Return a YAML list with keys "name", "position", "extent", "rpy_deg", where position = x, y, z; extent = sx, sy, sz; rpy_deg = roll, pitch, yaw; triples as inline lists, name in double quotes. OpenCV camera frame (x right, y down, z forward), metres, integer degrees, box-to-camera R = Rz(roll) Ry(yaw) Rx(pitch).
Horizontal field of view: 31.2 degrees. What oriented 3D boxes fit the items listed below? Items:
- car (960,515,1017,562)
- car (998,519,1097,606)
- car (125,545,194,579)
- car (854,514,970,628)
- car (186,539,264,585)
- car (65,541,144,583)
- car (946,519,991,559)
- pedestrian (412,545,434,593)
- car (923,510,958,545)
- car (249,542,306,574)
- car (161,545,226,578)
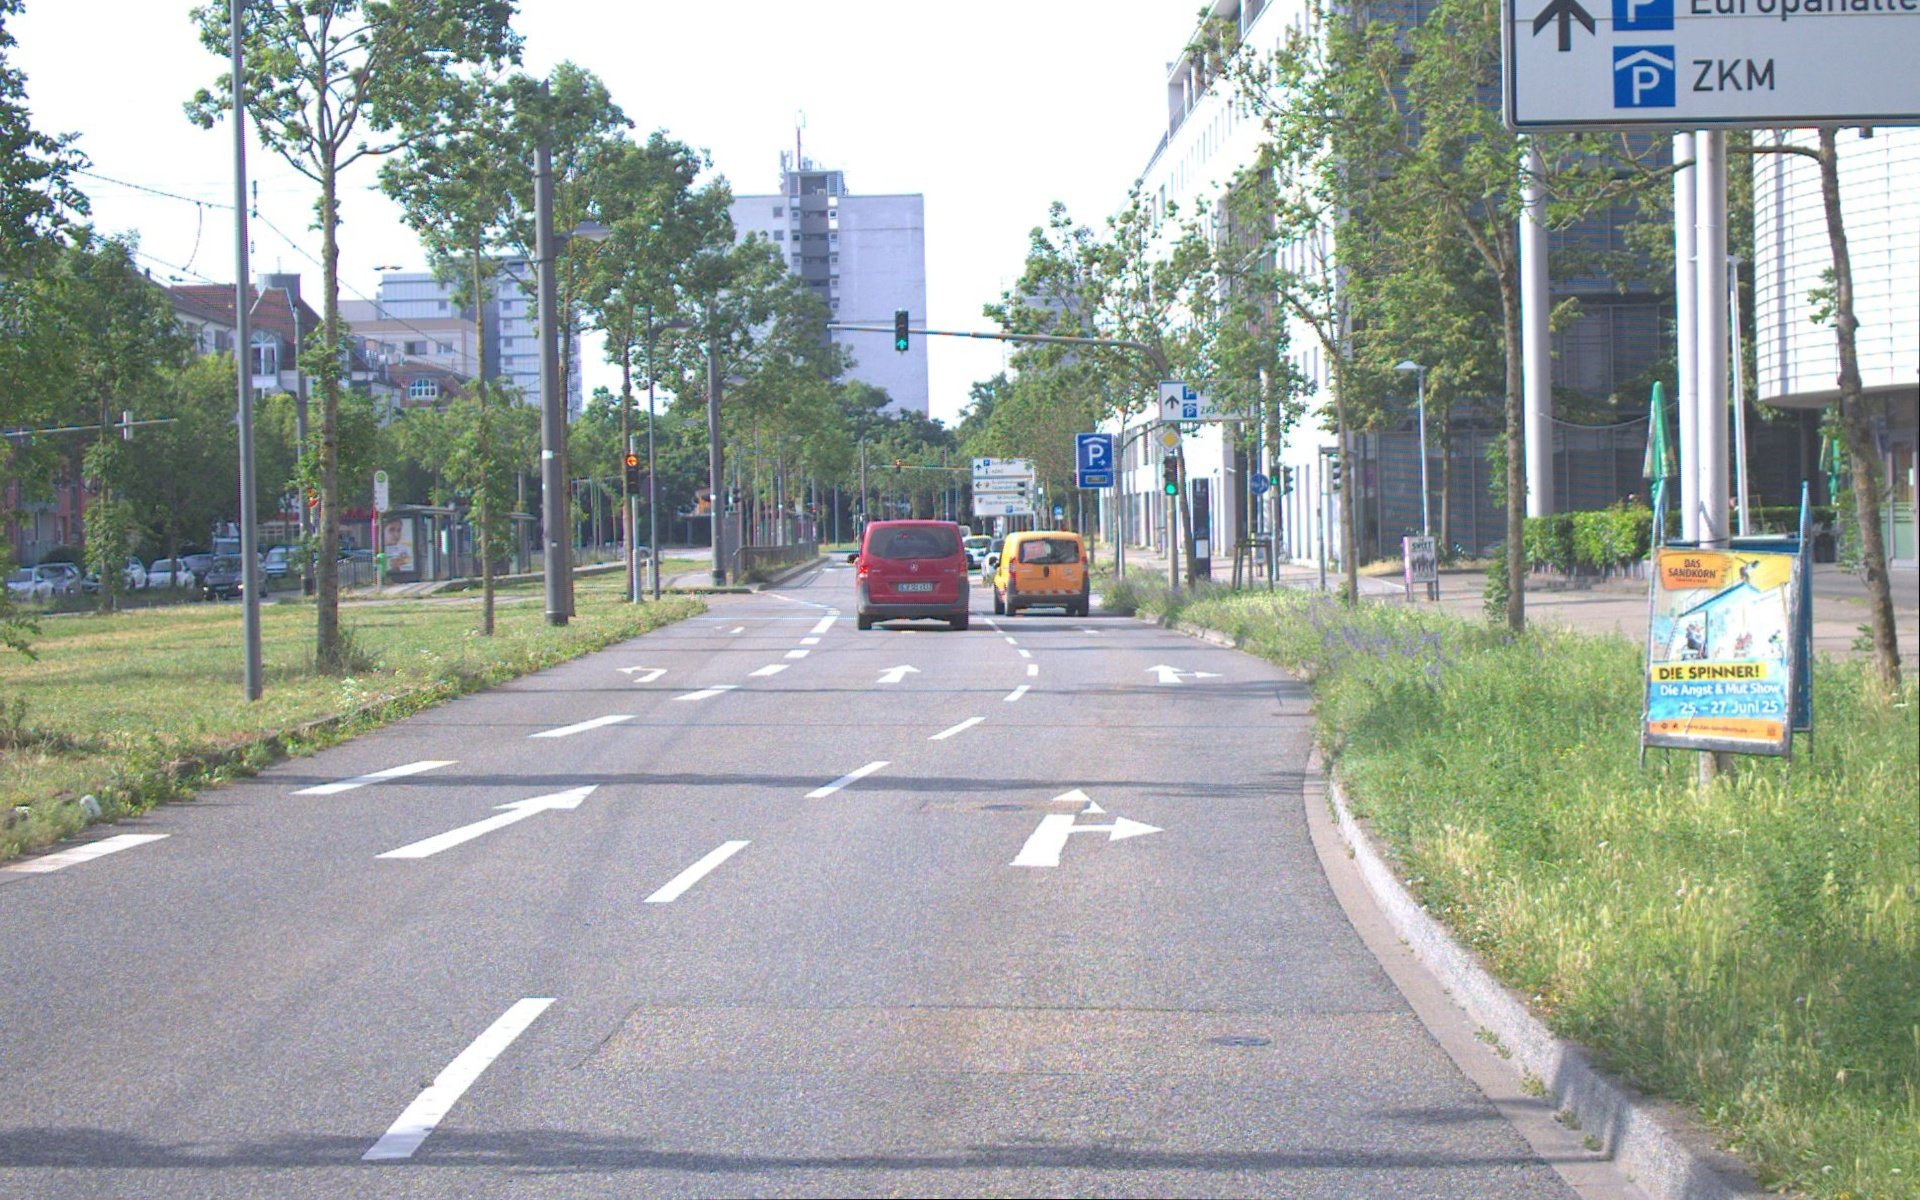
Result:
- name: "car"
  position: [0.922, -2.052, 114.231]
  extent: [1.720, 1.514, 3.782]
  rpy_deg: [-1, 1, -2]
- name: "car"
  position: [1.762, -0.794, 70.145]
  extent: [1.875, 1.690, 3.974]
  rpy_deg: [-1, 1, 0]
- name: "car"
  position: [-32.558, -1.546, 139.950]
  extent: [1.980, 1.356, 4.070]
  rpy_deg: [0, 1, -2]
- name: "car"
  position: [-0.854, -0.523, 58.976]
  extent: [1.874, 1.847, 4.001]
  rpy_deg: [-1, 1, -2]
- name: "car"
  position: [-28.371, -1.479, 132.789]
  extent: [1.993, 1.700, 4.713]
  rpy_deg: [-1, 1, 0]
- name: "car"
  position: [-32.342, -1.462, 130.009]
  extent: [1.980, 1.551, 4.538]
  rpy_deg: [0, 1, -2]
- name: "car"
  position: [0.326, -2.484, 140.521]
  extent: [1.689, 1.521, 3.851]
  rpy_deg: [-3, 1, -1]
- name: "pedestrian"
  position: [-18.732, -1.088, 119.928]
  extent: [0.671, 1.647, 0.795]
  rpy_deg: [-1, 1, -5]
- name: "car"
  position: [-1.149, -4.293, 204.214]
  extent: [1.993, 2.007, 4.000]
  rpy_deg: [-1, 1, -1]
- name: "car"
  position: [-33.020, -2.036, 166.420]
  extent: [1.980, 1.508, 4.281]
  rpy_deg: [0, 1, -2]
- name: "car"
  position: [-32.628, -1.666, 146.457]
  extent: [1.980, 1.356, 4.070]
  rpy_deg: [0, 1, -2]
